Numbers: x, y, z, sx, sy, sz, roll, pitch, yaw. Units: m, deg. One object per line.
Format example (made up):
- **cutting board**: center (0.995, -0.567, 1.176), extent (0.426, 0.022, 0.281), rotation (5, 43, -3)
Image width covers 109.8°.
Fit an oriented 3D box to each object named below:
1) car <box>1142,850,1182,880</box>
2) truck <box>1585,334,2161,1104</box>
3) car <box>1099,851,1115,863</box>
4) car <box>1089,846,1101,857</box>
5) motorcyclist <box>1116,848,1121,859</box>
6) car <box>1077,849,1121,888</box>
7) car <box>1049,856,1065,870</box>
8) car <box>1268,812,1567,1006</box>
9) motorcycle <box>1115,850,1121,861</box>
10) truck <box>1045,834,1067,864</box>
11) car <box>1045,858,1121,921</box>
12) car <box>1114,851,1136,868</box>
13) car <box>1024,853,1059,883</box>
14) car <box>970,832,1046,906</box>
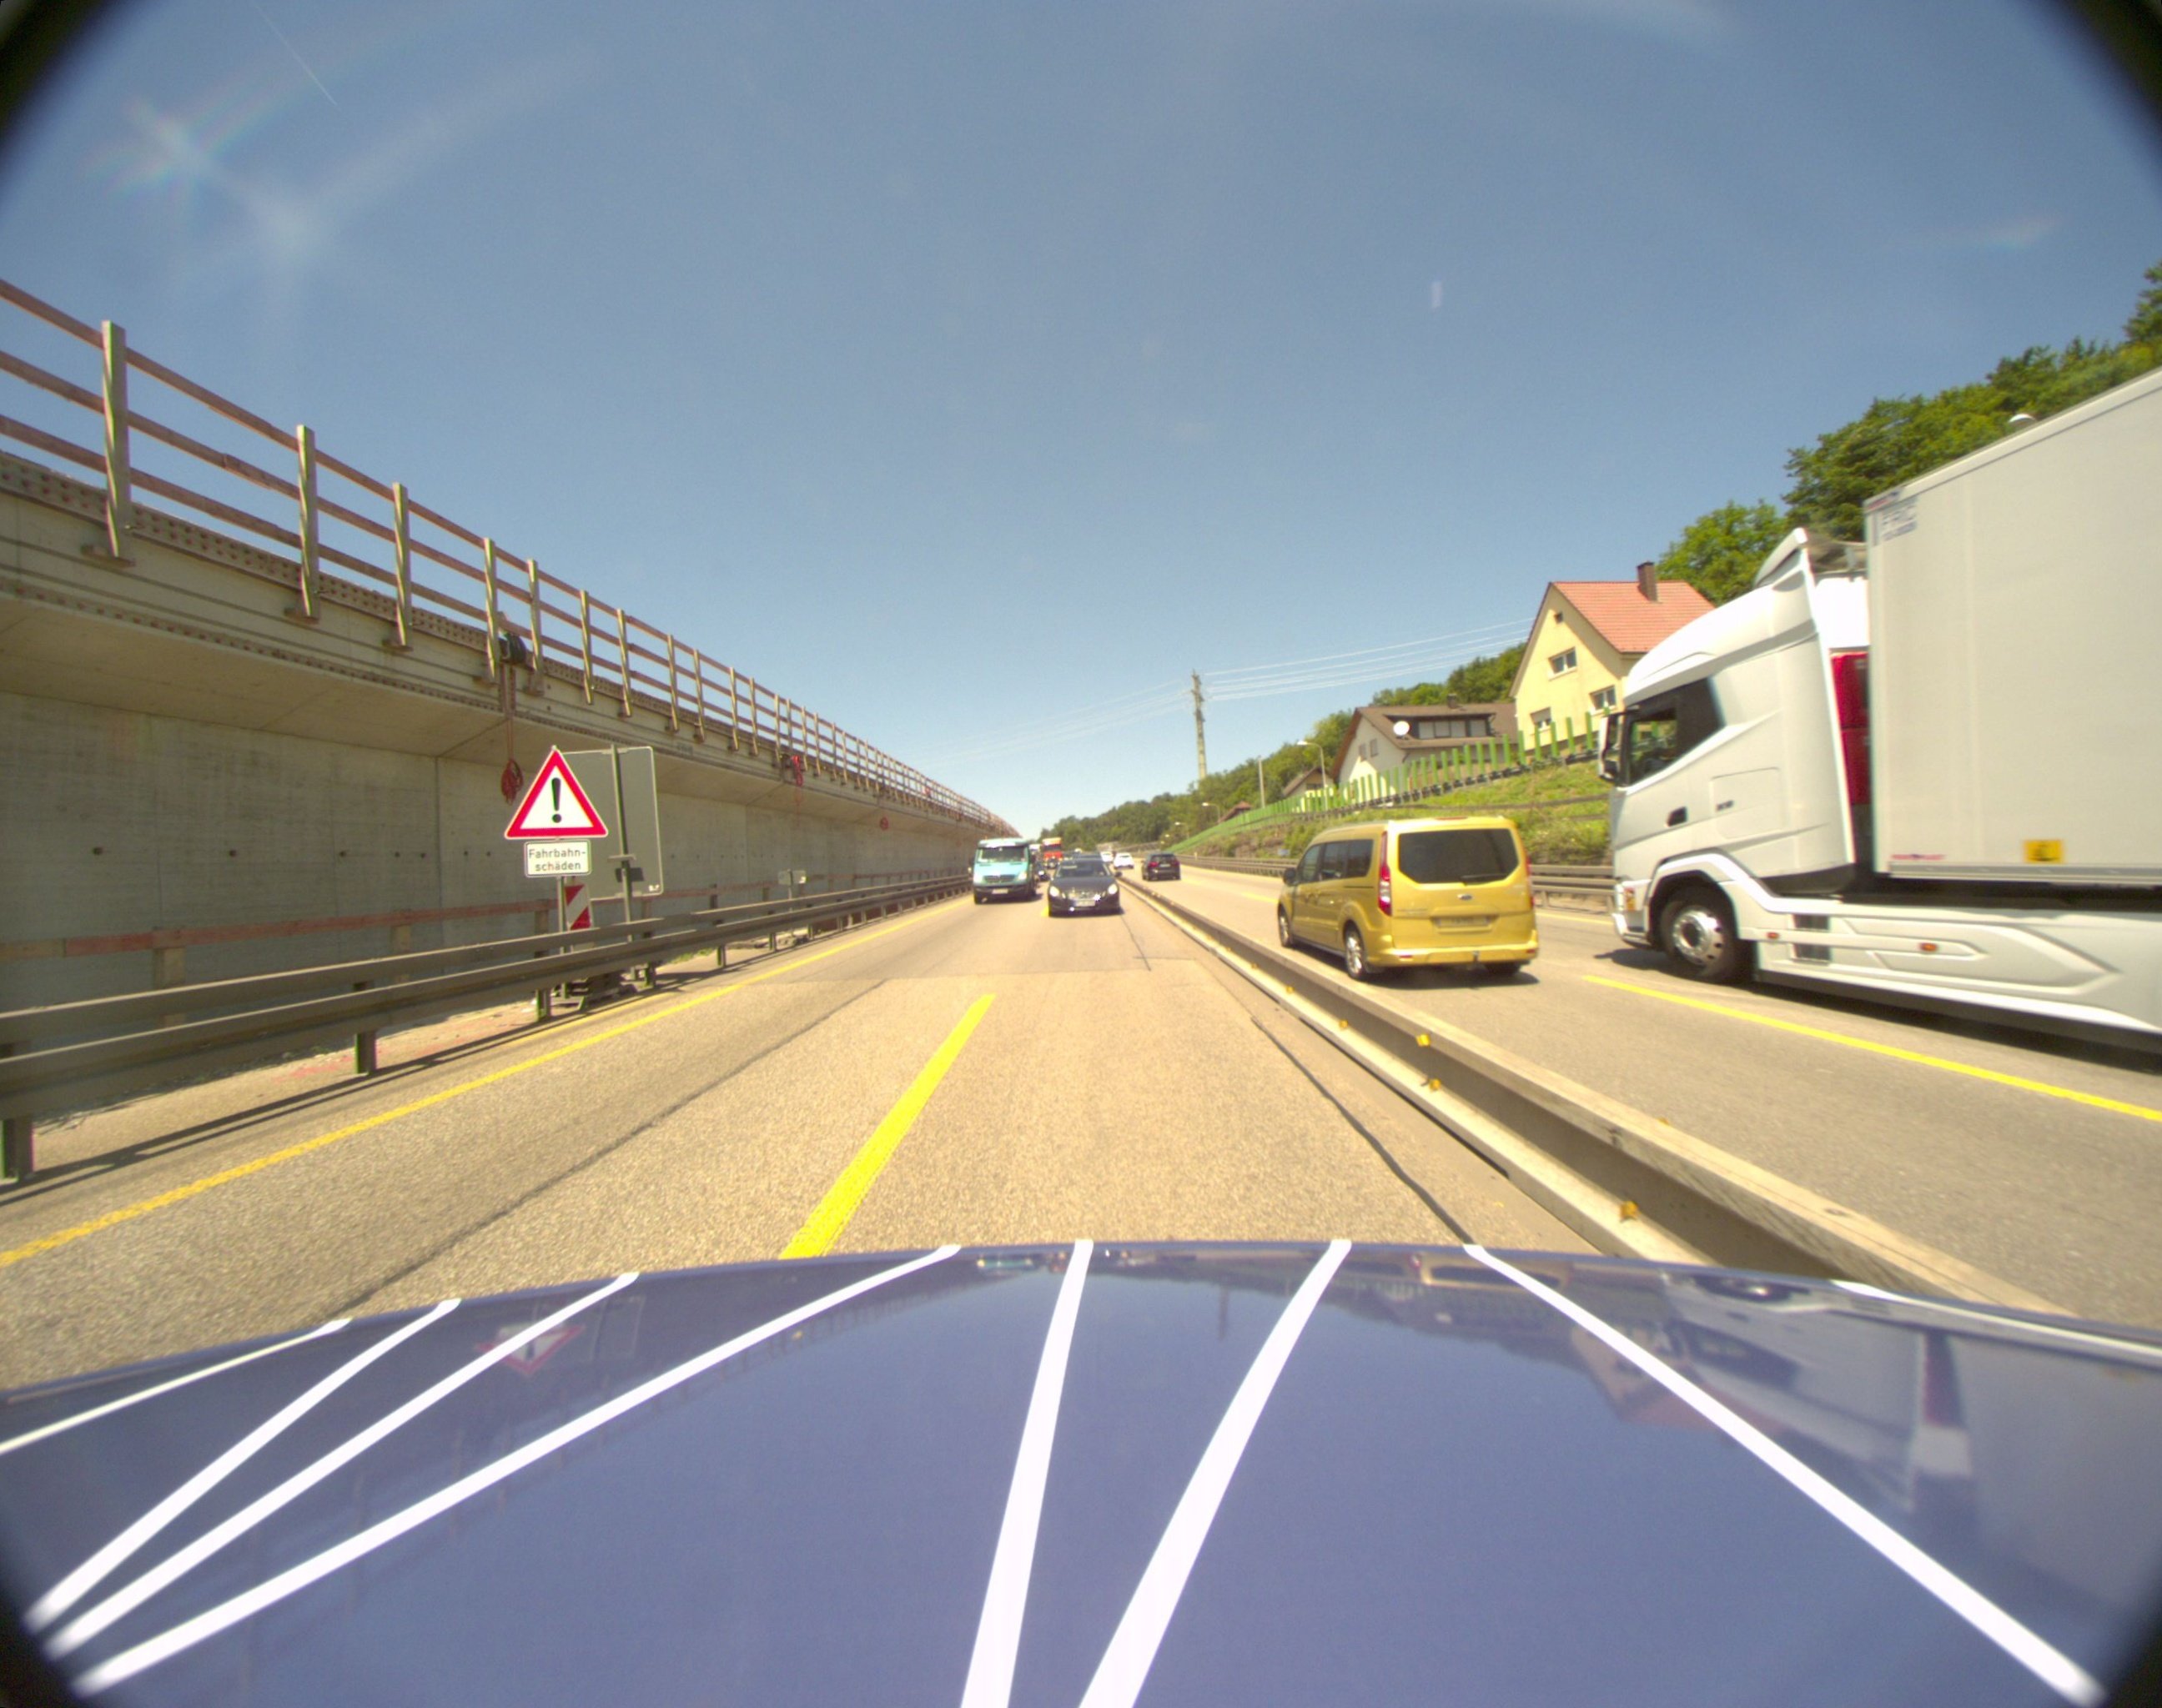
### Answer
- **car**: center (4.462, 0.577, 42.300), extent (1.704, 1.552, 4.103), rotation (-2, 0, -1)
- **truck**: center (7.514, -0.807, 5.555), extent (3.188, 4.214, 6.483), rotation (-3, 1, -1)
- **car**: center (3.369, 0.384, 97.447), extent (1.771, 1.477, 3.865), rotation (-3, 0, -1)
- **car**: center (2.349, -0.382, 124.909), extent (1.768, 1.601, 3.891), rotation (-3, 0, -1)
- **motorcyclist**: center (5.547, -0.126, 112.899), extent (0.667, 1.576, 0.736), rotation (-2, 2, 0)
- **car**: center (0.882, 0.698, 38.722), extent (1.860, 1.650, 3.998), rotation (-6, 1, -2)
- **car**: center (-2.947, 1.128, 93.699), extent (1.674, 1.499, 3.647), rotation (-6, 1, 0)
- **car**: center (3.817, 0.526, 9.605), extent (1.780, 1.810, 4.433), rotation (-3, 0, 0)
- **motorcycle**: center (5.506, 0.182, 112.827), extent (0.792, 1.542, 2.621), rotation (-3, 0, 0)
- **truck**: center (-3.735, -0.825, 112.254), extent (2.651, 3.978, 11.192), rotation (-6, 1, -2)
- **car**: center (-0.050, 0.867, 20.564), extent (1.793, 1.440, 4.296), rotation (-2, 0, -3)
- **car**: center (4.043, 0.476, 70.145), extent (1.695, 1.477, 3.749), rotation (-3, 0, -1)
- **car**: center (-2.560, 0.881, 49.878), extent (1.859, 1.650, 3.999), rotation (-6, 1, 0)
- **car**: center (-2.634, 0.456, 29.149), extent (1.968, 2.367, 7.209), rotation (-4, 1, 1)
